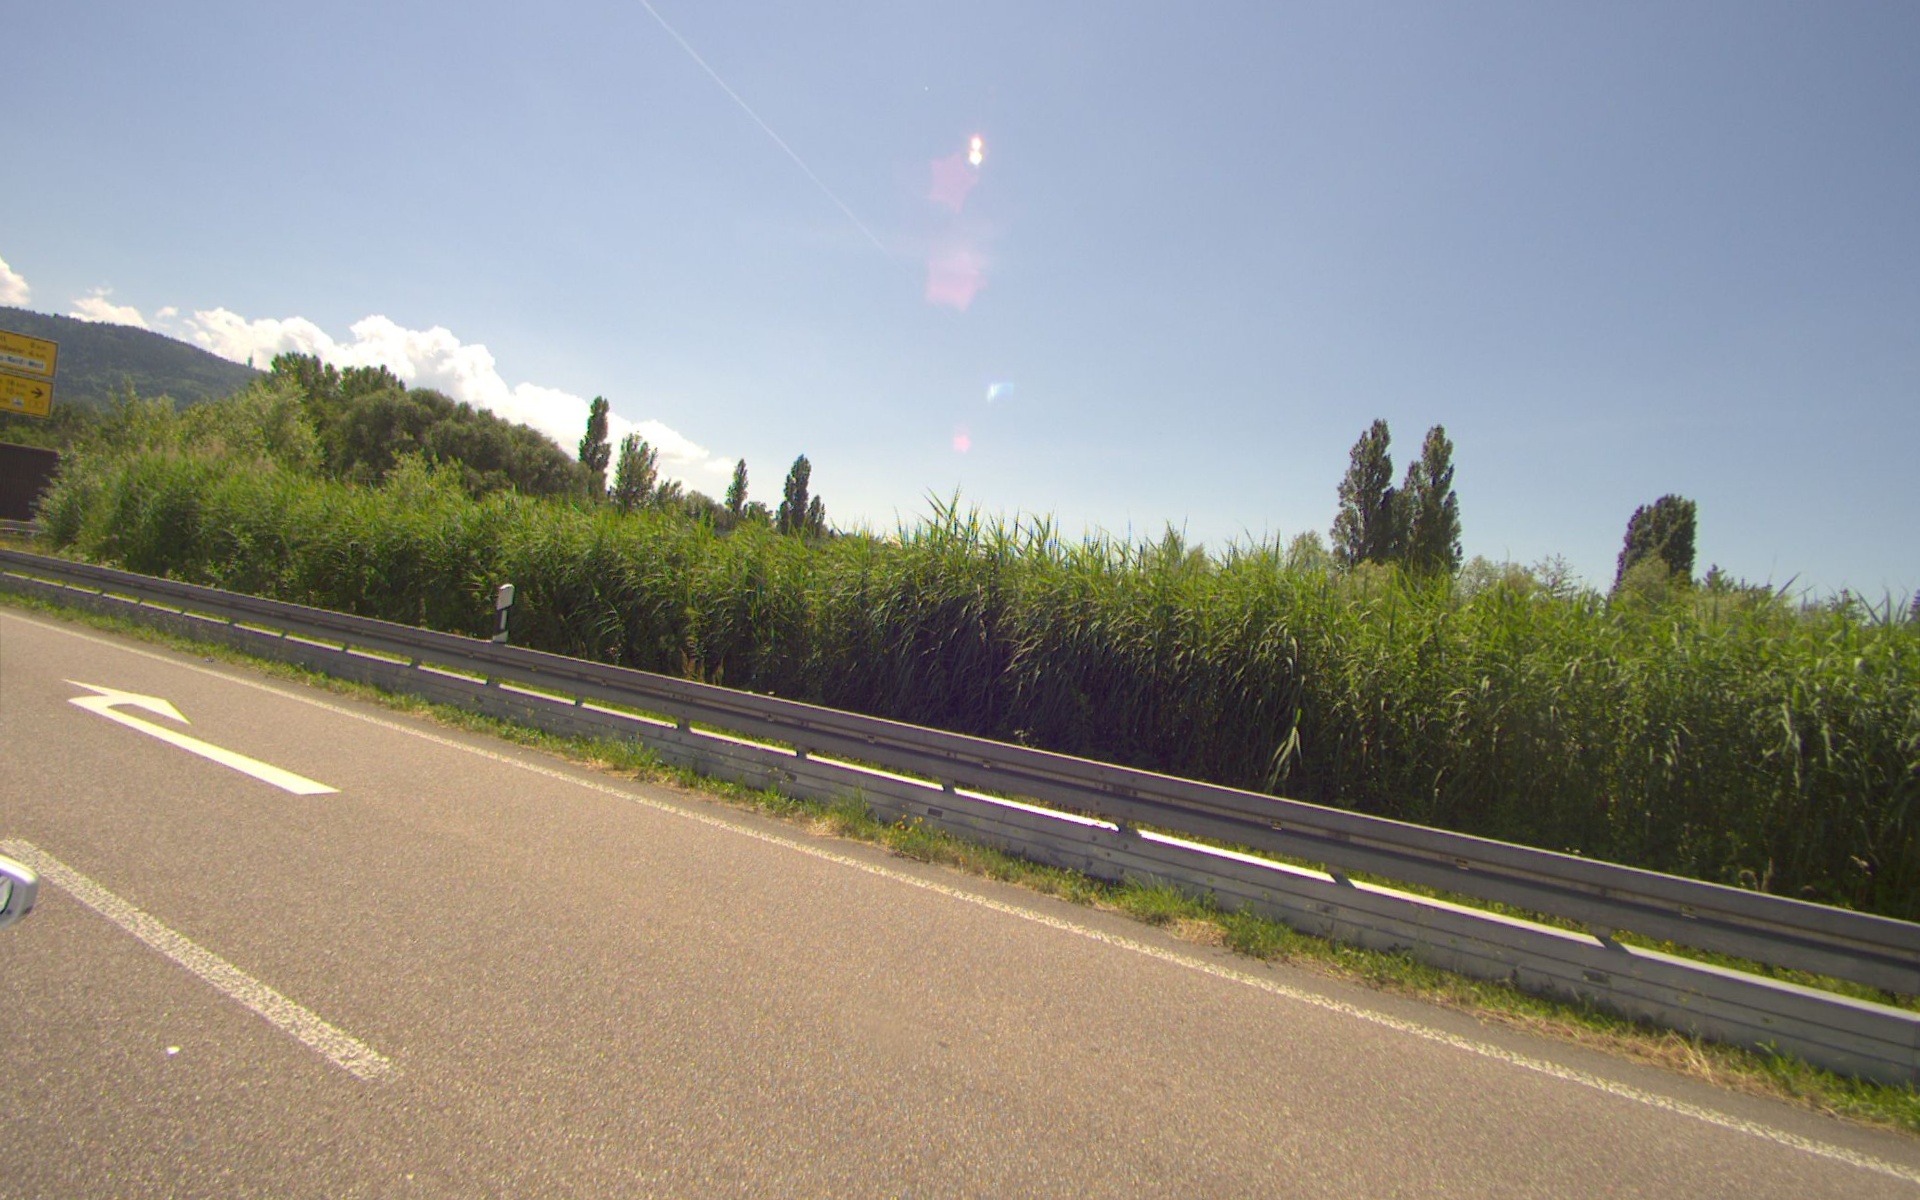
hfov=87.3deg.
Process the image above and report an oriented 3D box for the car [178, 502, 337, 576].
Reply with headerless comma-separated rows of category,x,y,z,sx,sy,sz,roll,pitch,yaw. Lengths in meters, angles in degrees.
car,-31.519,-2.662,45.341,2.005,2.479,5.356,7,-1,29
